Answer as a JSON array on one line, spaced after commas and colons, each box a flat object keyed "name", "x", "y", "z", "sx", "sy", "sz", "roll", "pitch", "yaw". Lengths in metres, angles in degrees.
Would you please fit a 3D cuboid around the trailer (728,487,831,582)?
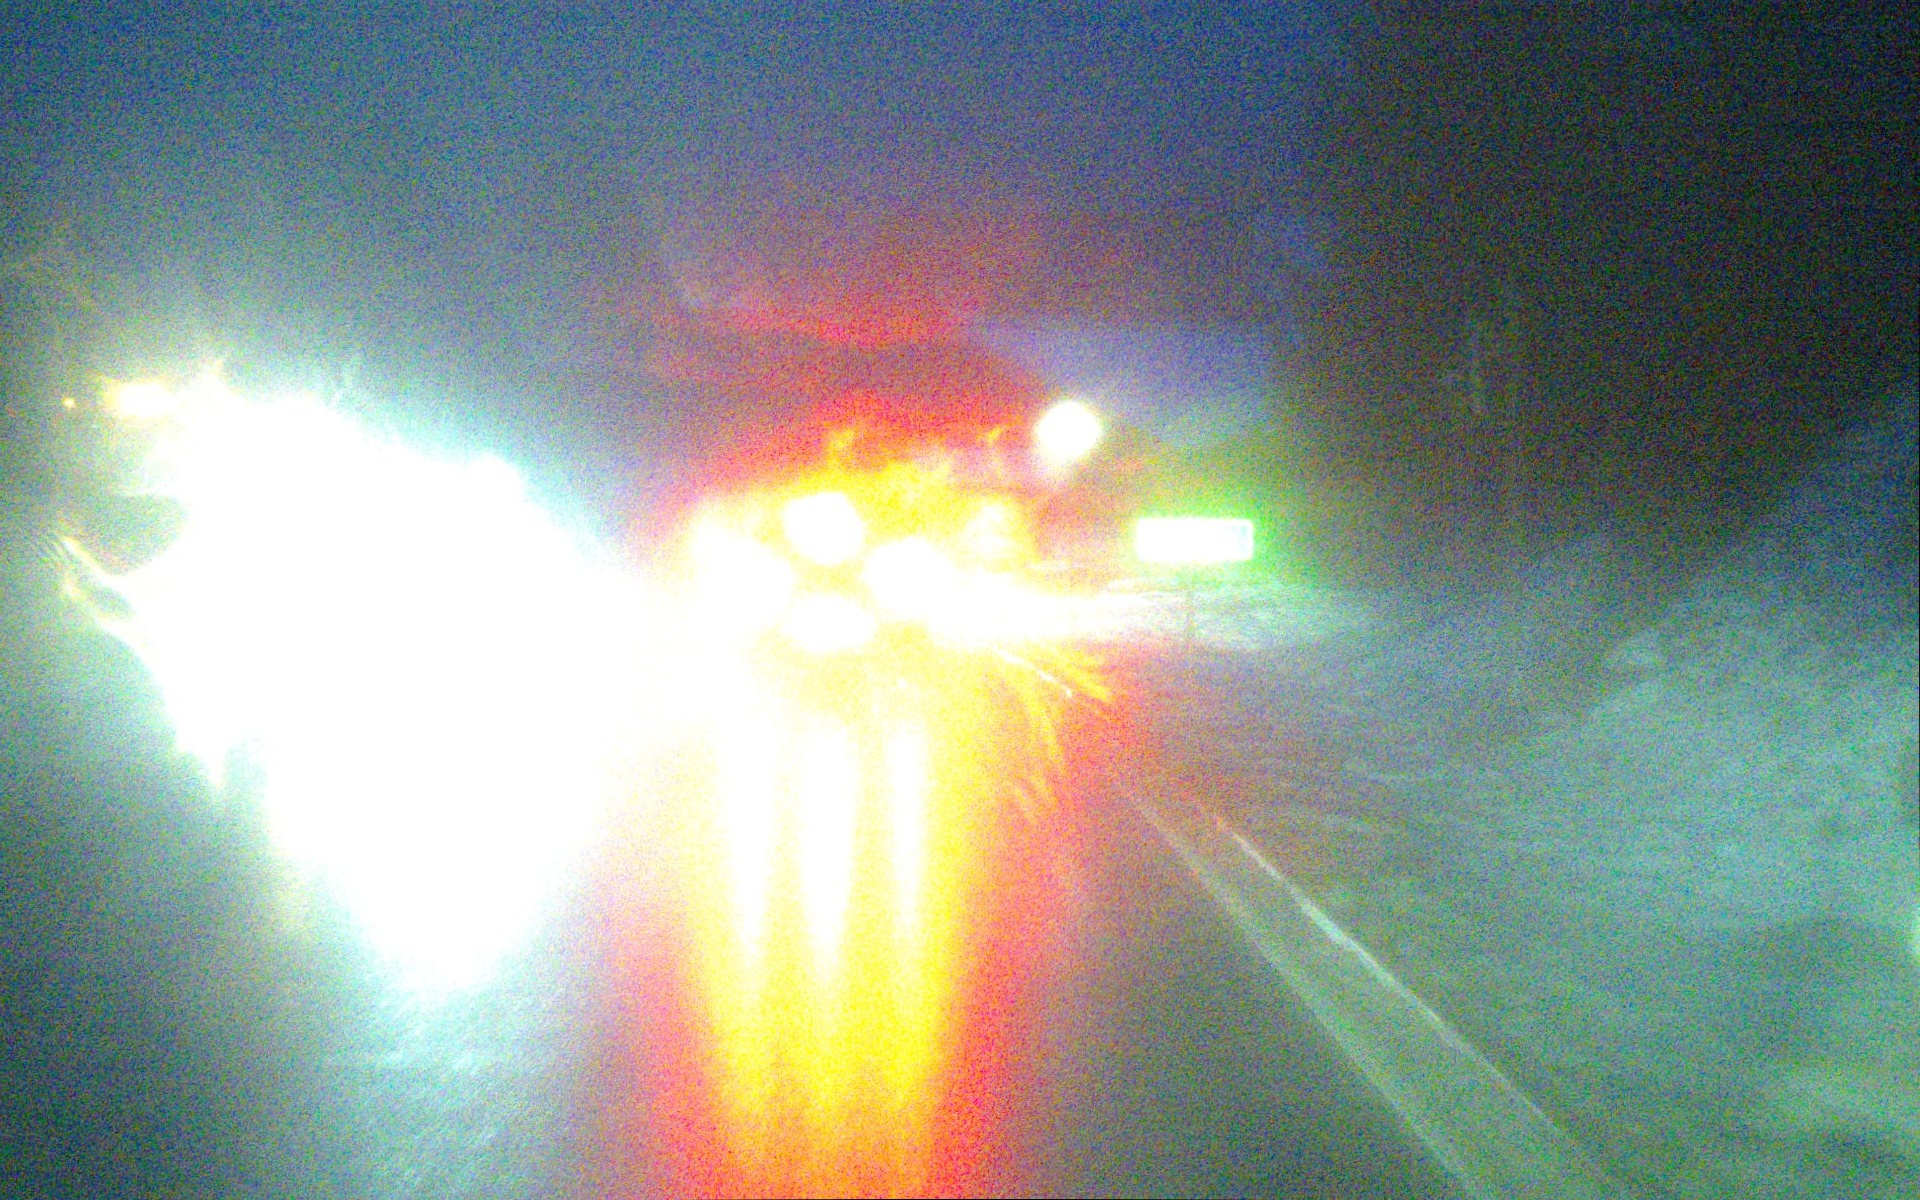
[{"name": "trailer", "x": -4.705, "y": -1.695, "z": 88.923, "sx": 1.605, "sy": 2.344, "sz": 4.432, "roll": 2, "pitch": 1, "yaw": -16}]

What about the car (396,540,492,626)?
[{"name": "car", "x": -11.098, "y": -0.384, "z": 73.764, "sx": 1.976, "sy": 1.772, "sz": 4.001, "roll": 0, "pitch": 1, "yaw": -9}]

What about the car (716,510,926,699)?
[{"name": "car", "x": -1.260, "y": -0.002, "z": 31.395, "sx": 1.801, "sy": 1.623, "sz": 3.616, "roll": 0, "pitch": 1, "yaw": -2}]

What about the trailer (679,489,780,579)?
[{"name": "trailer", "x": -6.298, "y": -1.799, "z": 93.636, "sx": 1.629, "sy": 2.356, "sz": 4.654, "roll": 2, "pitch": 1, "yaw": -17}]

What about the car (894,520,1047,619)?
[{"name": "car", "x": 0.181, "y": -0.659, "z": 72.867, "sx": 1.877, "sy": 2.033, "sz": 4.392, "roll": 0, "pitch": 1, "yaw": -19}]
